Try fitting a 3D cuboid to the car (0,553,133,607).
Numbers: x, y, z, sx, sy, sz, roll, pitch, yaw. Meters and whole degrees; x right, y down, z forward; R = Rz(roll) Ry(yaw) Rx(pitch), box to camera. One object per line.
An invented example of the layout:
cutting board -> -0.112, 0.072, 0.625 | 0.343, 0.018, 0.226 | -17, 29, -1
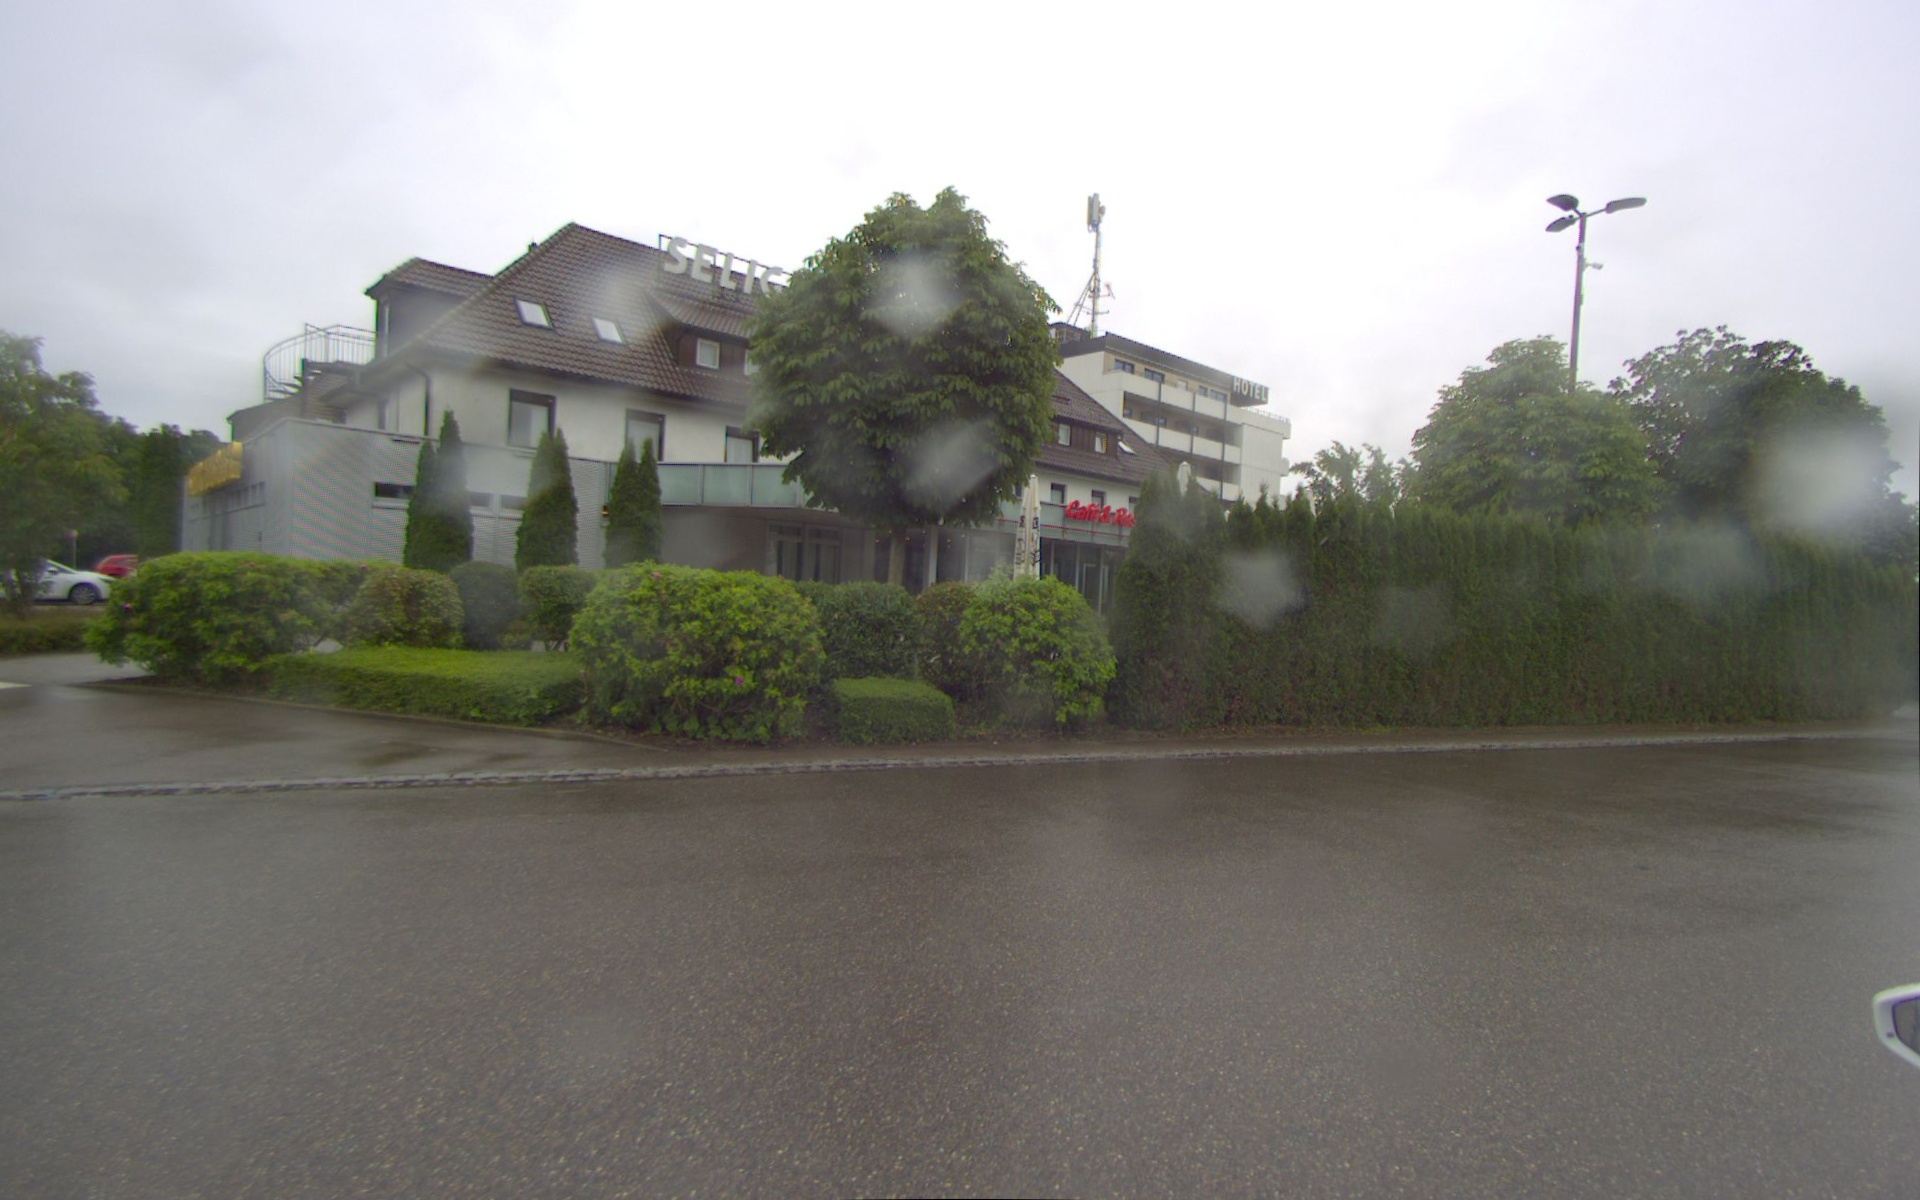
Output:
car -> -26.743, -0.577, 28.986 | 4.331, 1.444, 1.826 | 2, 0, -44
